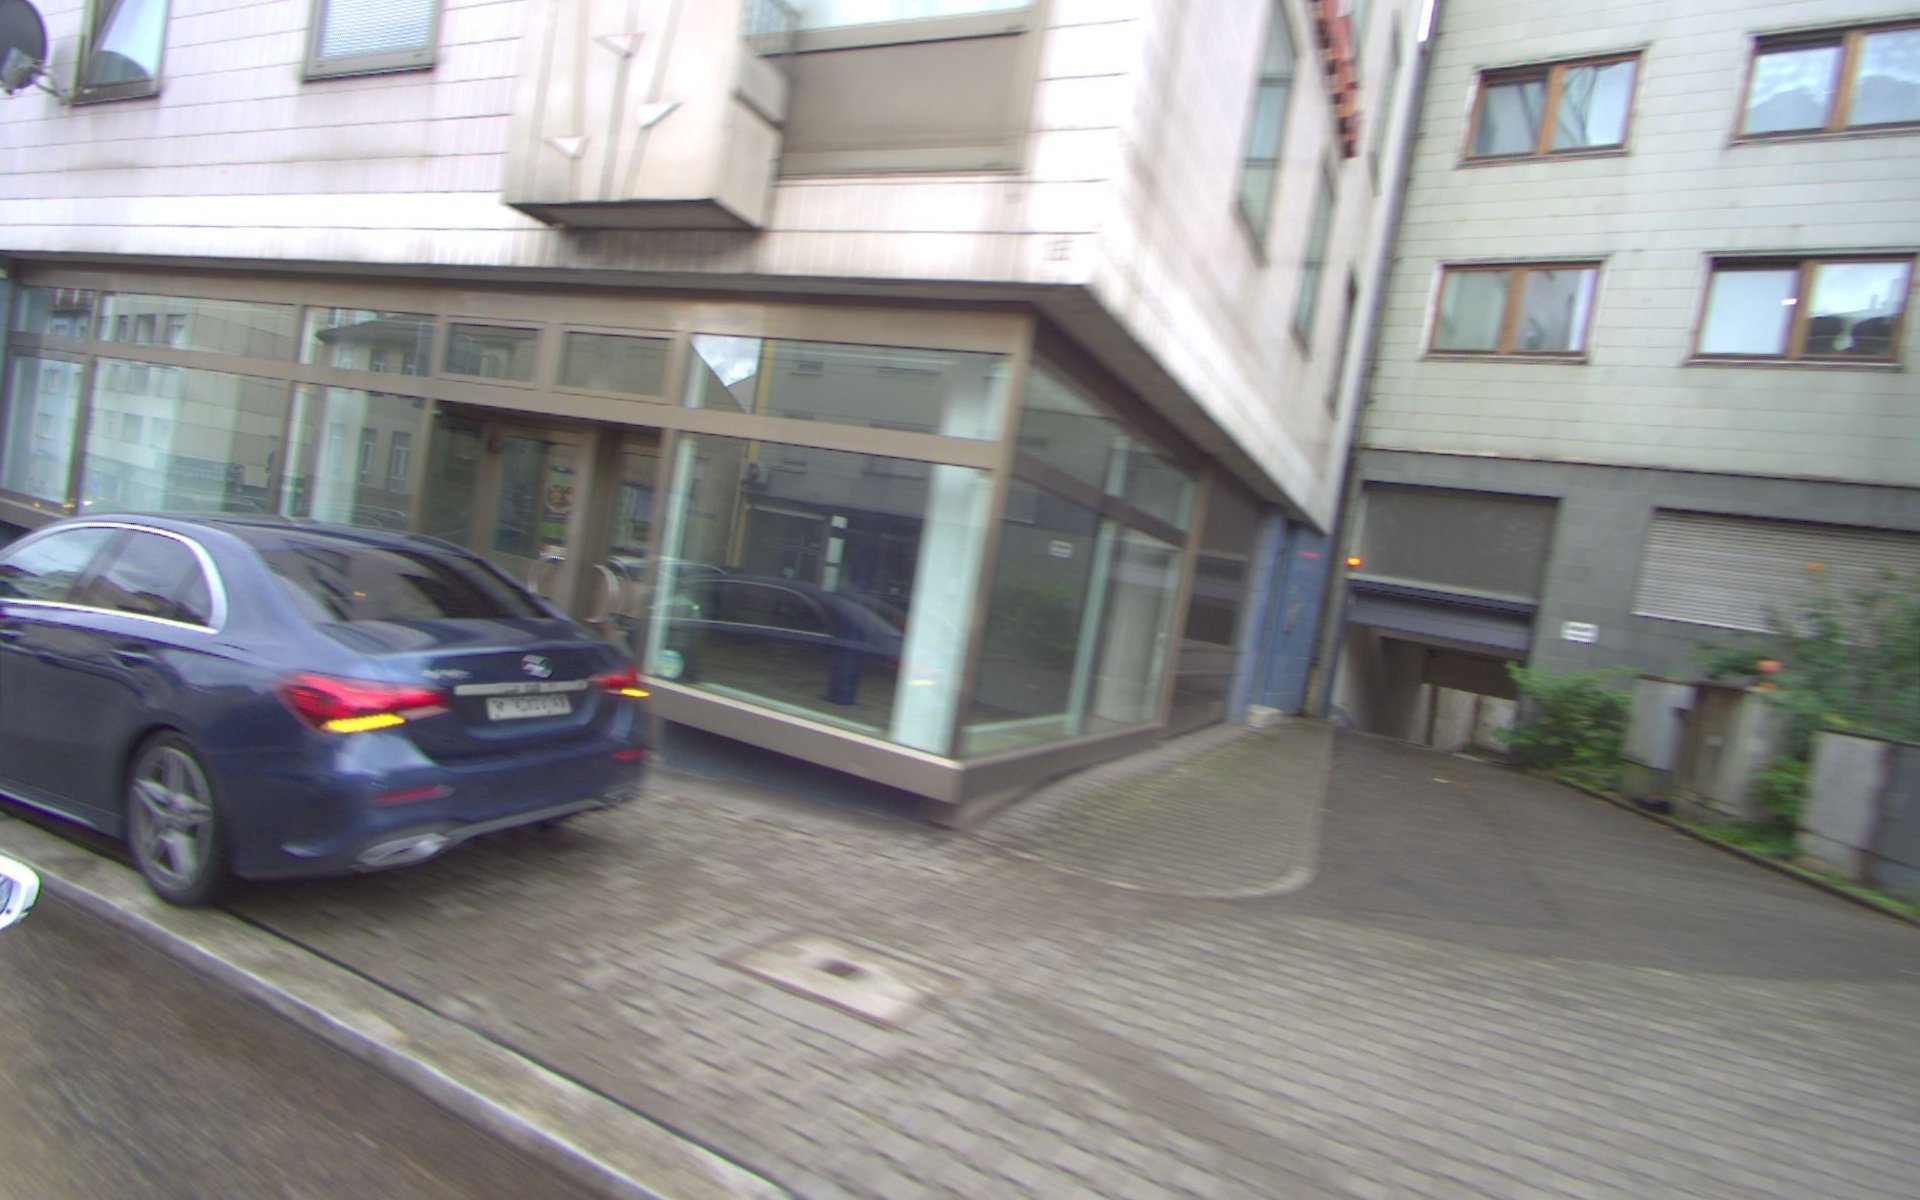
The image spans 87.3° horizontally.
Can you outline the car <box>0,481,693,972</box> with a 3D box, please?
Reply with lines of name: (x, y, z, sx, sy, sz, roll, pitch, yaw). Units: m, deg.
car: (-3.583, 0.245, 4.844, 4.302, 1.410, 1.765, 7, 2, 27)
